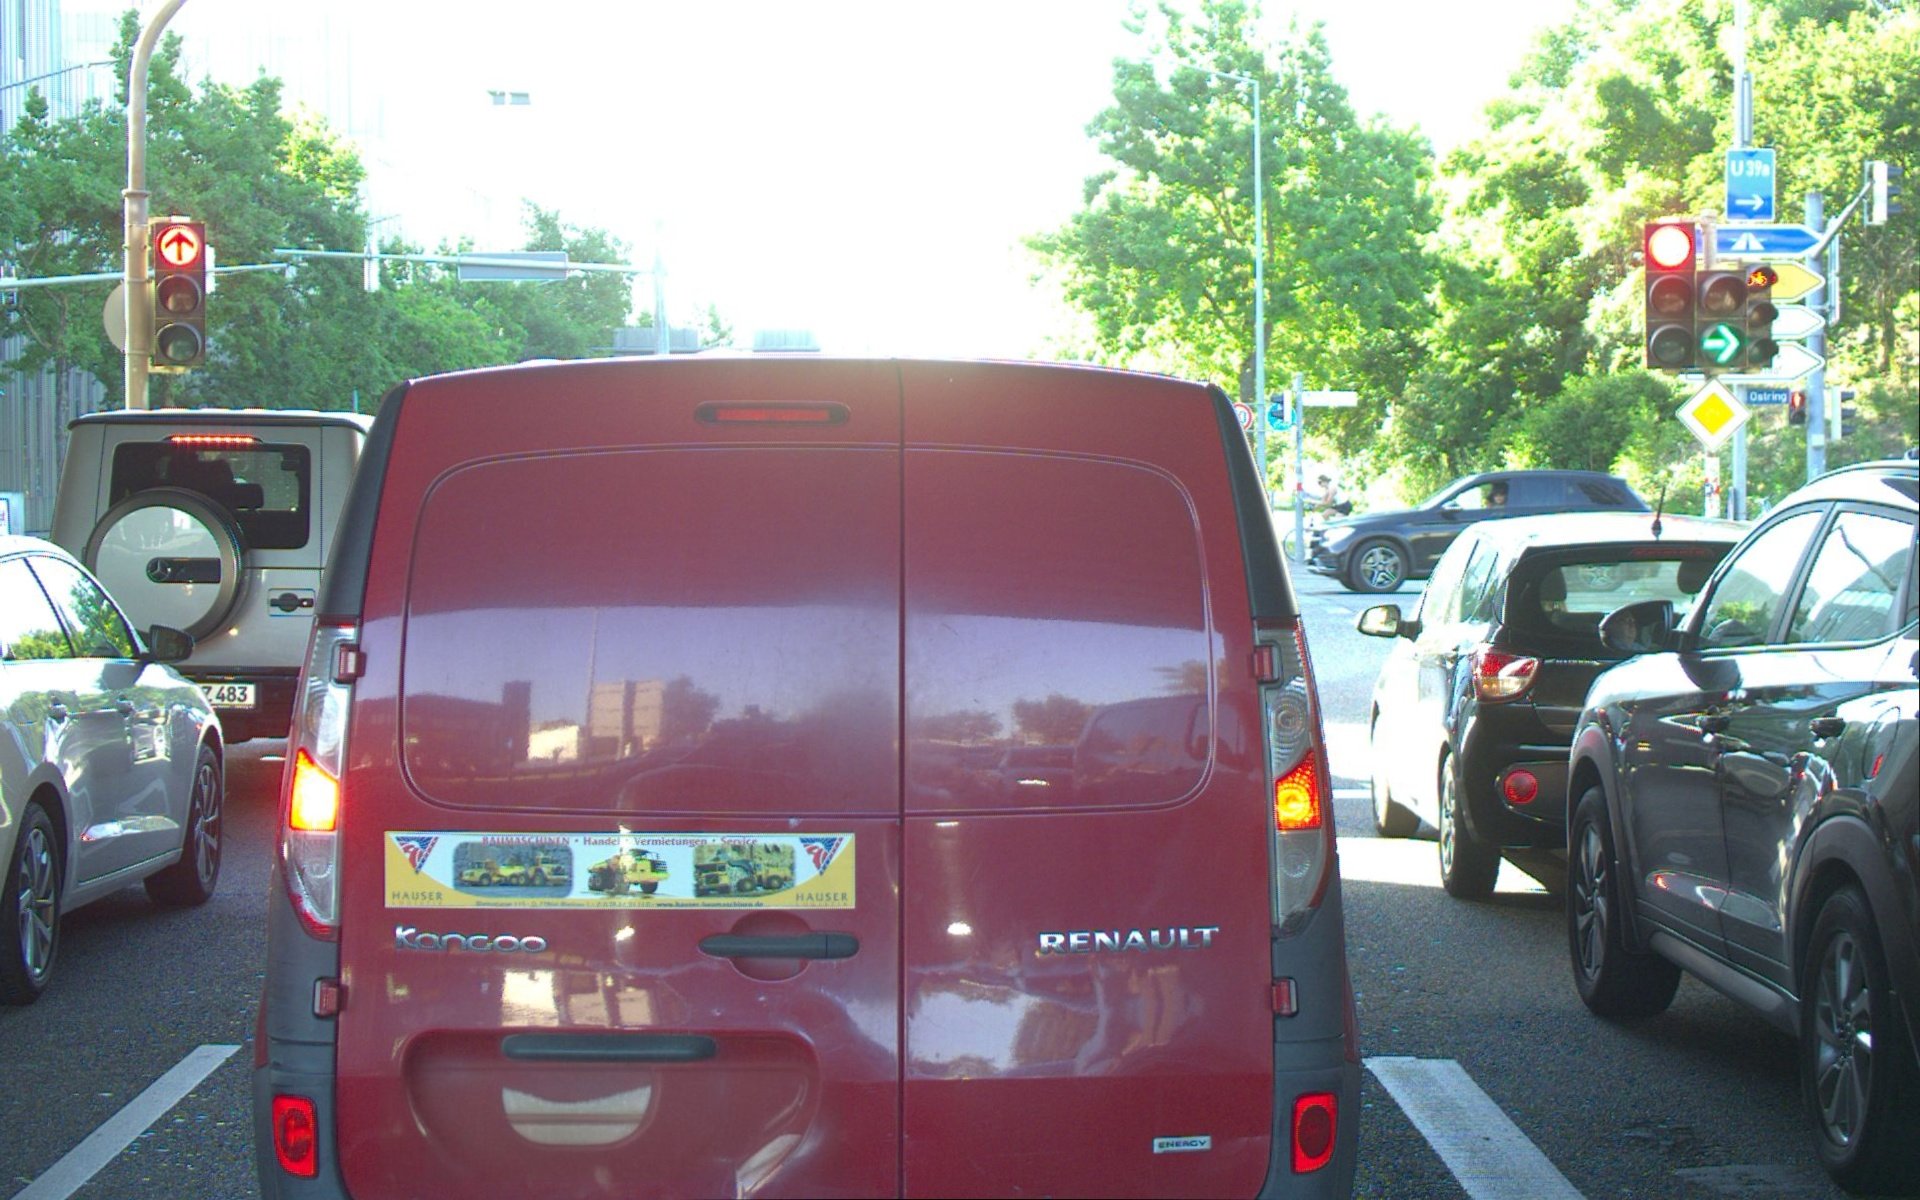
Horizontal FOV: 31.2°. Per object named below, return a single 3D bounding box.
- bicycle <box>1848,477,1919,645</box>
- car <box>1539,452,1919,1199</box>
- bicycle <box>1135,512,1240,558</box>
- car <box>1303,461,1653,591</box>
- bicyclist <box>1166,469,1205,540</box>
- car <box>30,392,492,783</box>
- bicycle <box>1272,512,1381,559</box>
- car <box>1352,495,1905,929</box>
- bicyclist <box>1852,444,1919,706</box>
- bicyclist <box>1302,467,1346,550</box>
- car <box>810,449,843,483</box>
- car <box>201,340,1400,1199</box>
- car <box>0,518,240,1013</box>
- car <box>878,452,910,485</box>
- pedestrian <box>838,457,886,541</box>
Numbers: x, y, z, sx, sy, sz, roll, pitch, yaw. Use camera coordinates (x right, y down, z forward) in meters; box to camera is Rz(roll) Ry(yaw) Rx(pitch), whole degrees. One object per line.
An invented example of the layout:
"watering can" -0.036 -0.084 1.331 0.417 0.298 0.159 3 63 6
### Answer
"bicycle" 6.035 -0.241 21.739 0.677 1.020 1.528 1 1 10
"car" 2.778 0.495 8.698 1.778 1.650 3.991 1 1 -2
"bicycle" 4.306 -1.227 65.096 1.912 0.864 0.605 0 1 -4
"car" 6.824 -0.975 45.677 4.347 1.602 2.000 1 1 1
"bicyclist" 4.269 -1.811 65.087 0.652 1.325 0.603 1 1 -4
"car" -3.693 -0.105 18.789 1.813 1.897 3.814 1 1 -1
"bicycle" 6.842 -1.212 64.200 1.953 0.871 0.699 0 1 0
"car" 2.683 0.354 14.615 1.652 1.546 3.864 1 2 1
"bicyclist" 6.038 -0.157 21.748 0.677 1.623 0.644 1 1 10
"bicyclist" 6.794 -1.699 64.181 0.755 1.537 0.697 0 1 0
"car" -8.448 -8.502 217.903 1.993 2.007 4.000 1 1 -1
"car" -0.257 0.471 6.980 1.719 1.758 4.000 1 1 -1
"car" -3.620 0.428 11.496 1.692 1.405 3.814 1 1 -1
"car" -4.226 -8.419 220.617 1.993 2.007 4.000 1 1 -1
"pedestrian" -1.822 -1.867 63.828 0.836 1.549 0.557 0 1 -6
